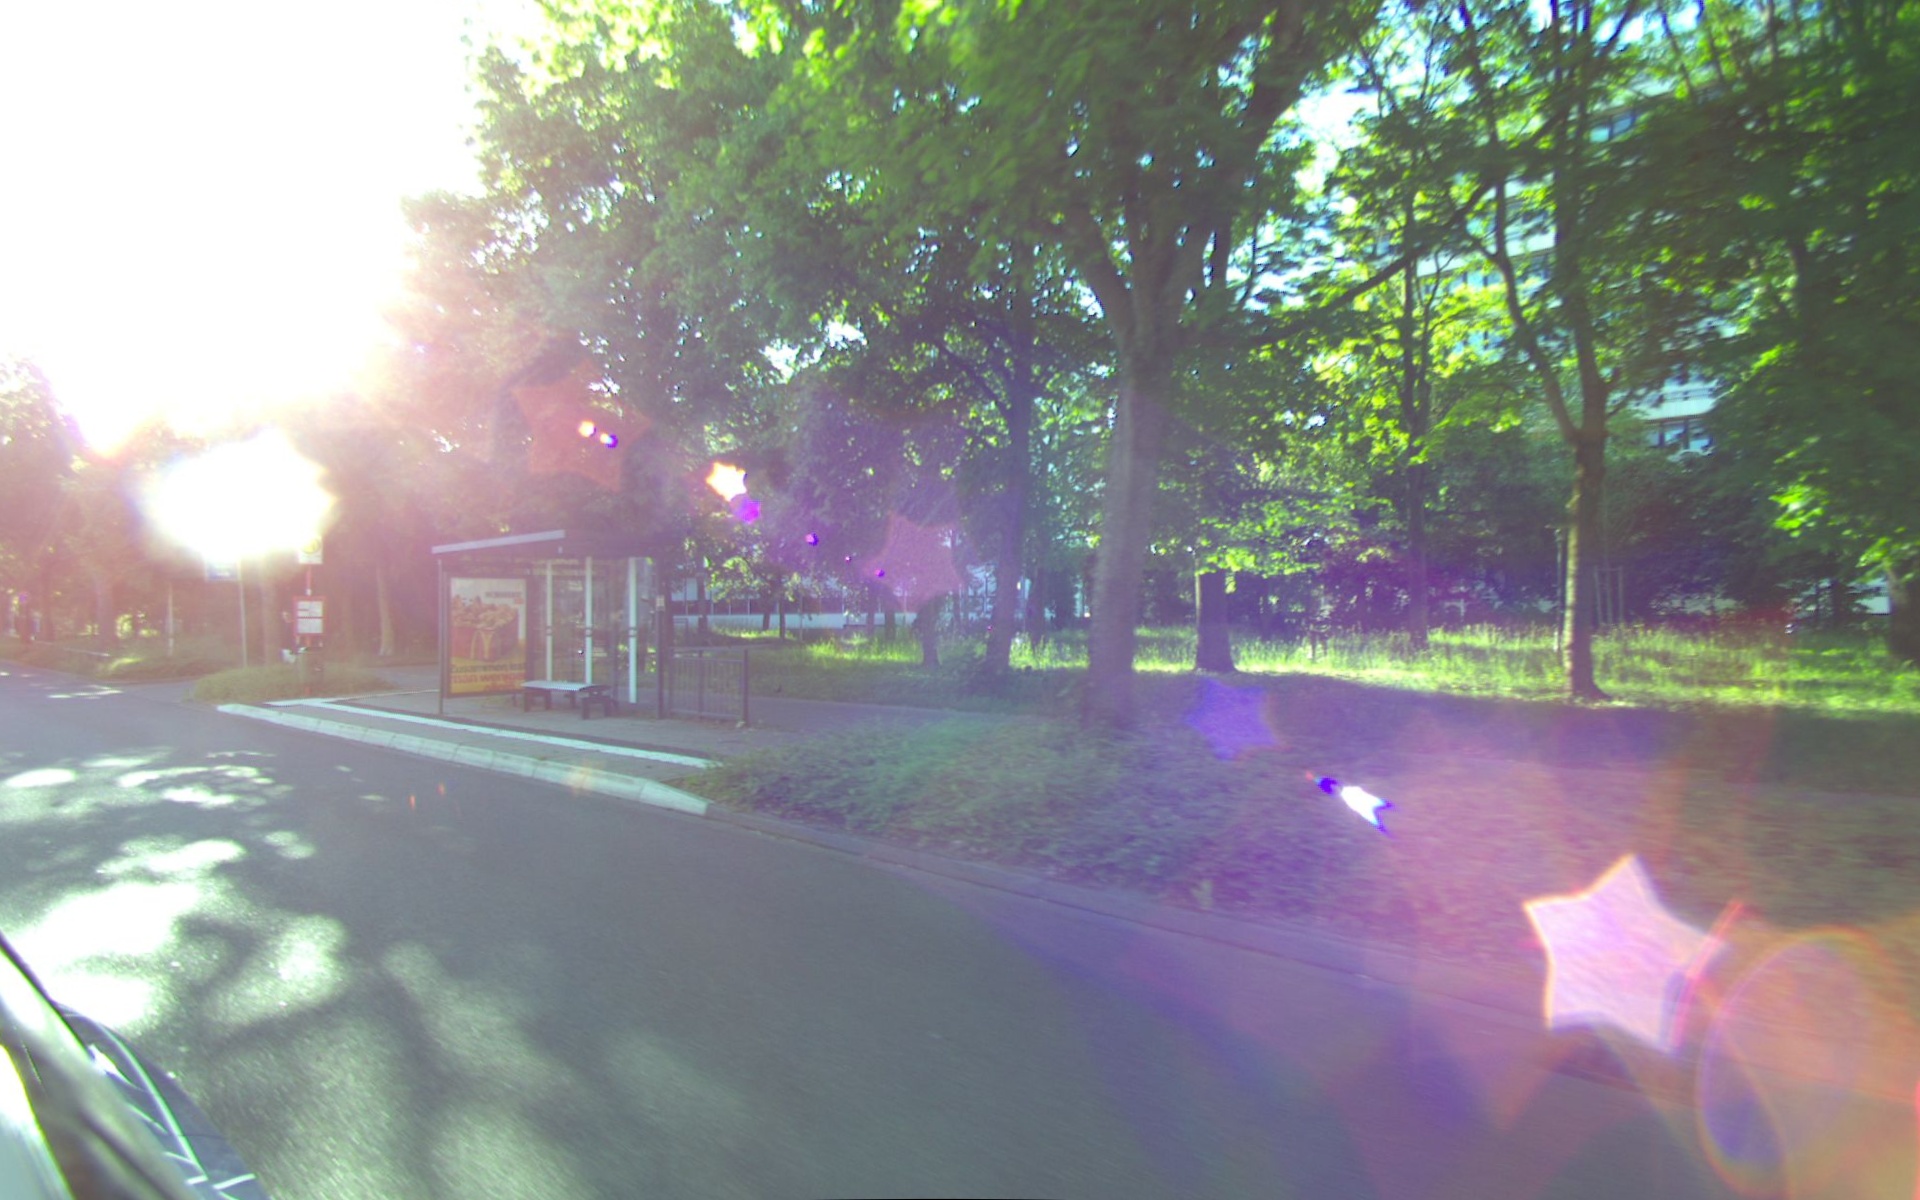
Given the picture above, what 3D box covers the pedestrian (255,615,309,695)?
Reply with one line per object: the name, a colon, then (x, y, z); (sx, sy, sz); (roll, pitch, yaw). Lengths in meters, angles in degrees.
pedestrian: (-16.074, 1.281, 23.990); (0.720, 1.835, 0.894); (-2, -1, 39)
